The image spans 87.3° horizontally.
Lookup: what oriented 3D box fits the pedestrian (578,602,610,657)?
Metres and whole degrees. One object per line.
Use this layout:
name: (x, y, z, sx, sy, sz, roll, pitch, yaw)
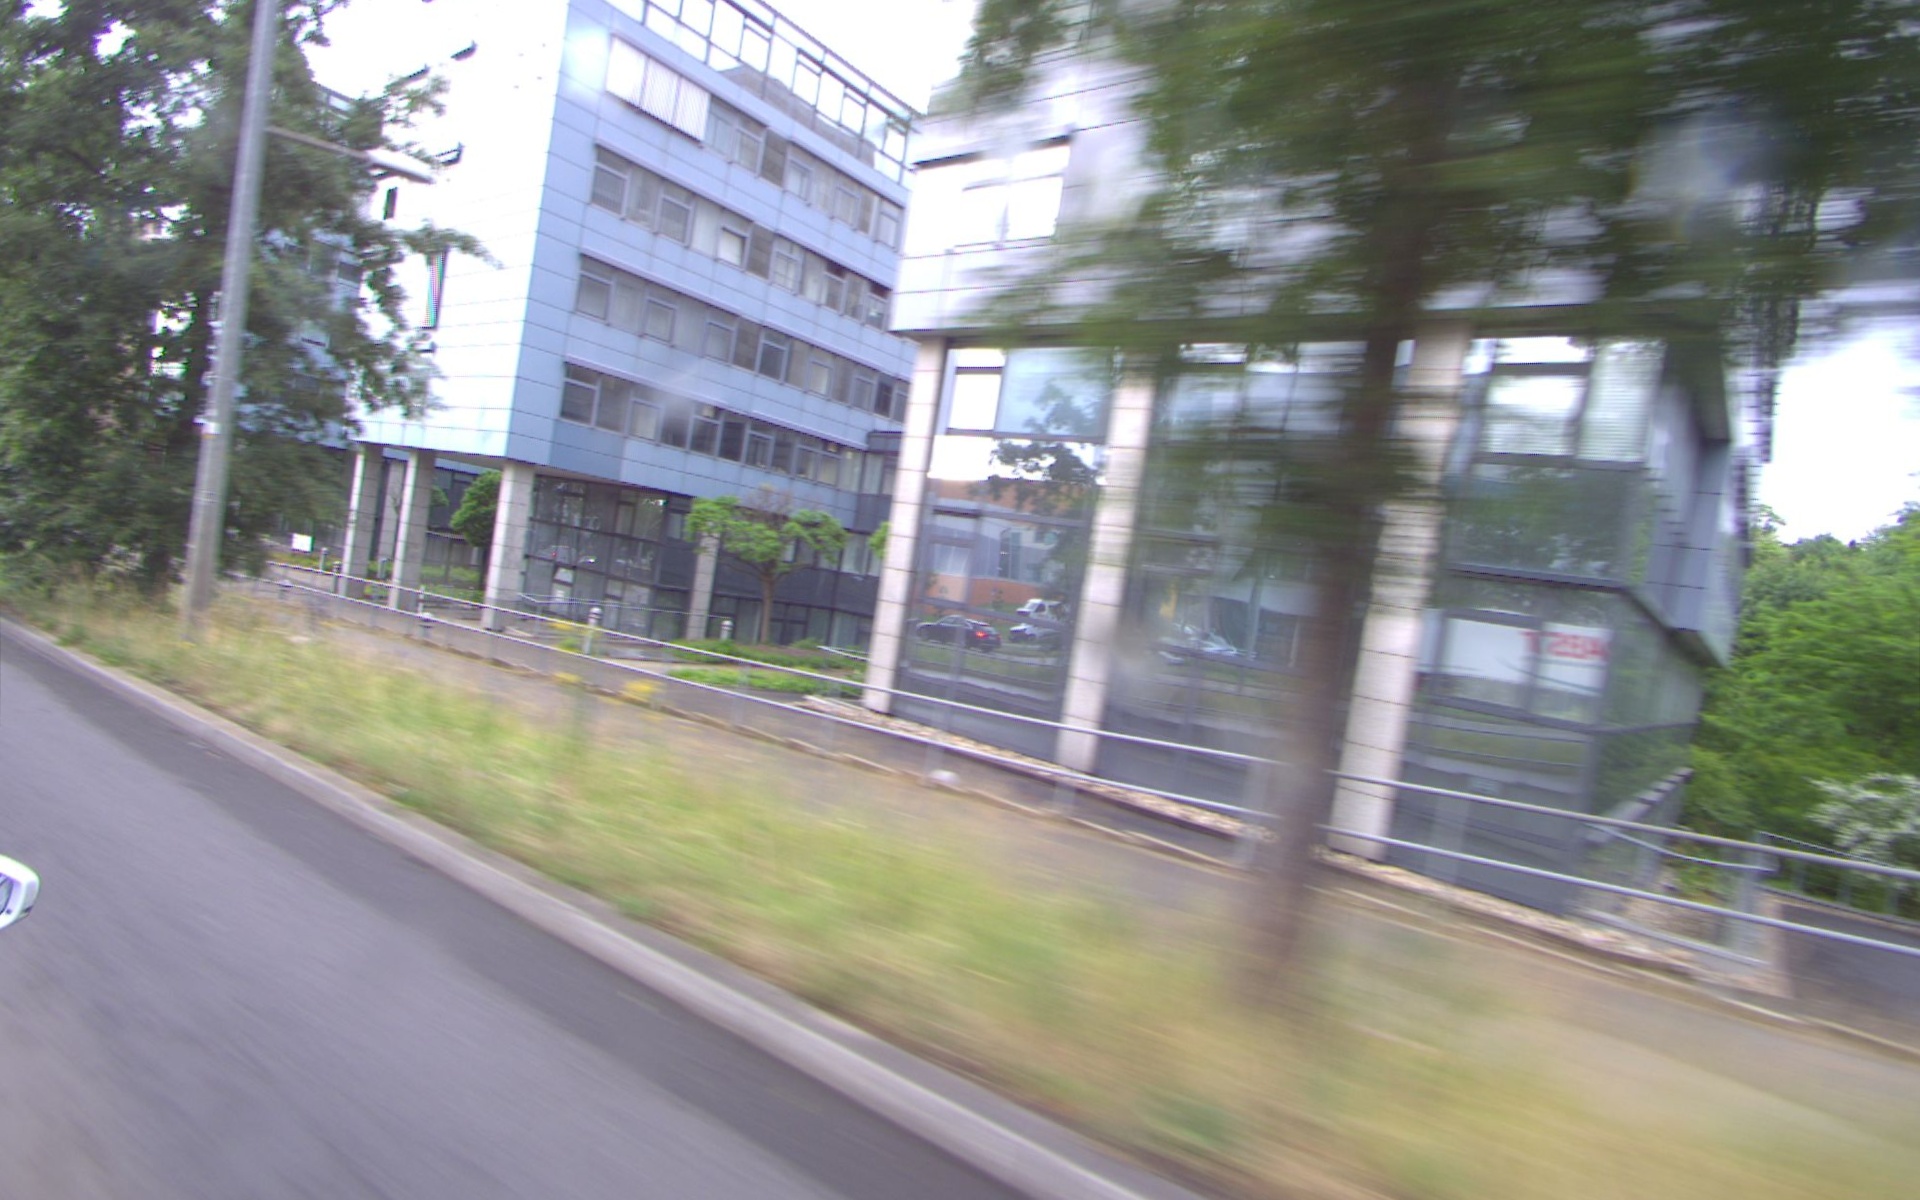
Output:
pedestrian: (-9.983, 0.799, 27.457, 0.450, 1.425, 0.503, 7, -1, 37)
